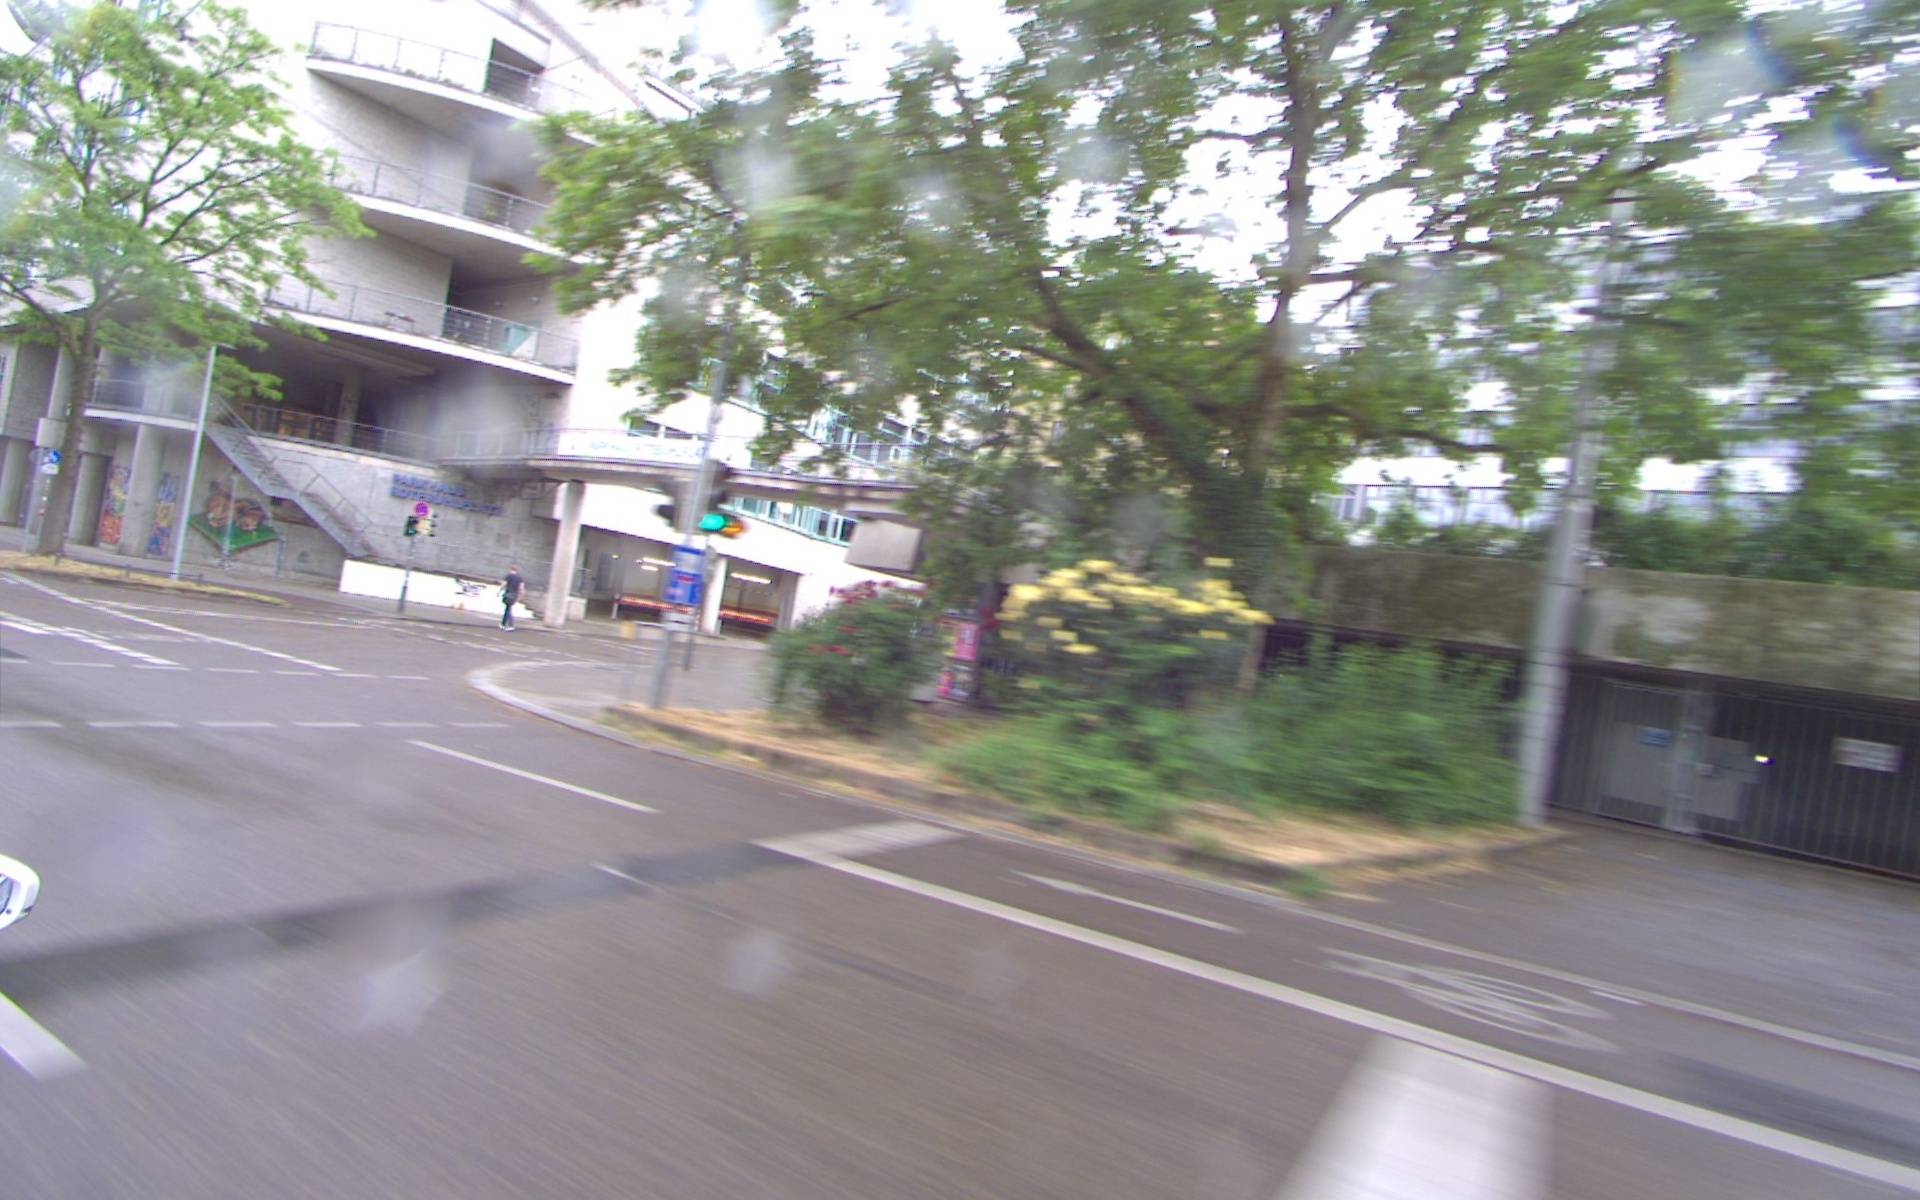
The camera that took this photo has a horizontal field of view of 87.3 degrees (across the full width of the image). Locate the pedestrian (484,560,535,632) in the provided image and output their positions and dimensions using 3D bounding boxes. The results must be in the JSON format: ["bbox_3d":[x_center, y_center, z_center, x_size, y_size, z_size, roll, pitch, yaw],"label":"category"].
[{"bbox_3d":[-12.973,-0.115,29.000,0.745,1.932,0.847,7,-1,32],"label":"pedestrian"}]
